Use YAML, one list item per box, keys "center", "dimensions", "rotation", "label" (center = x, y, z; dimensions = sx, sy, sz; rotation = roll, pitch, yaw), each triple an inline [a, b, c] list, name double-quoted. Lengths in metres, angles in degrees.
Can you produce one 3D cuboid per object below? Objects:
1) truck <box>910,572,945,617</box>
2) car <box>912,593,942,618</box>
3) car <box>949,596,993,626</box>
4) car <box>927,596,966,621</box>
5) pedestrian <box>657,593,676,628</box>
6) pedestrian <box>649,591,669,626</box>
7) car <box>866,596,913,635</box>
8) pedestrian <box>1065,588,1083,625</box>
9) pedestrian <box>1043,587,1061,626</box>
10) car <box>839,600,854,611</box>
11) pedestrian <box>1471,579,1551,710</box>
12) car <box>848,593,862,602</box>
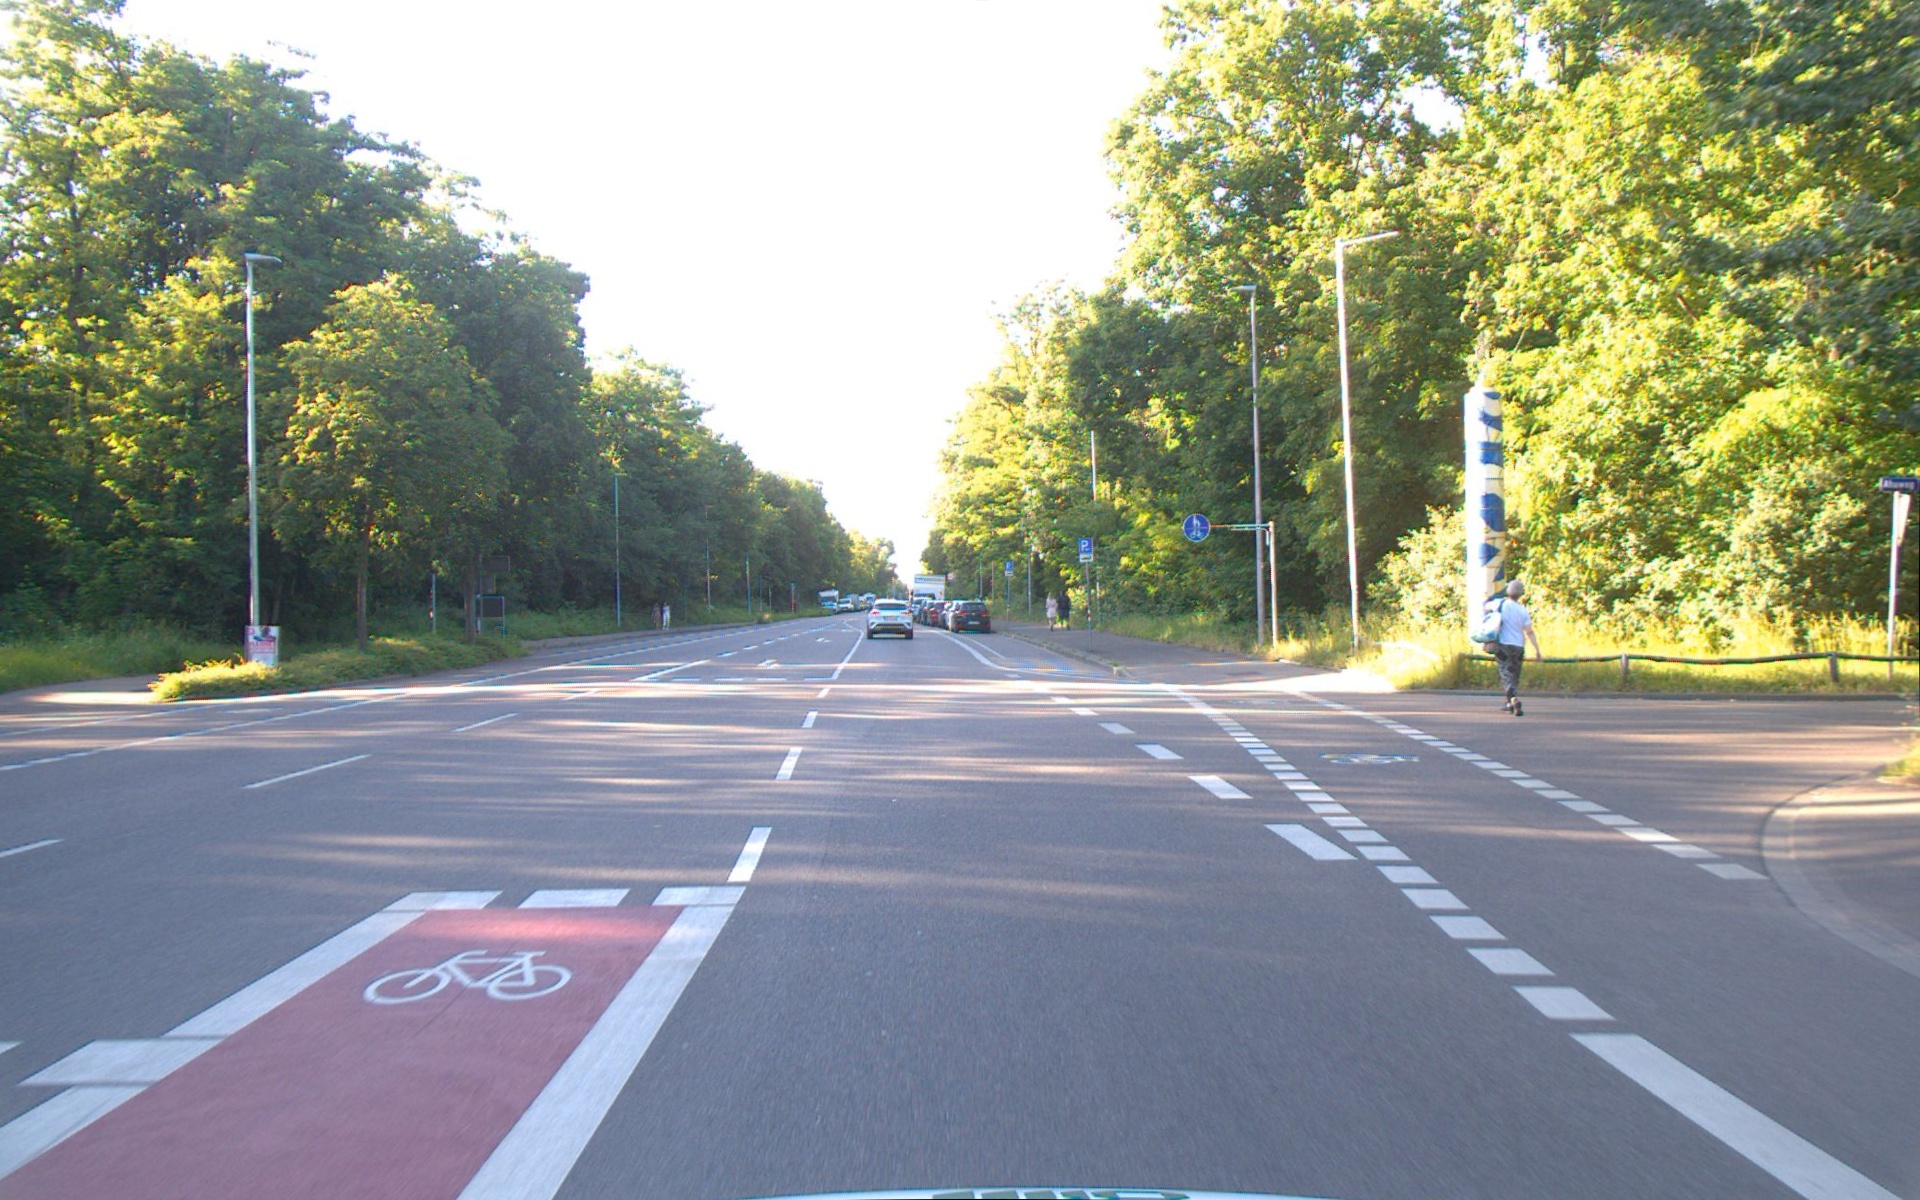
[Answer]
- center: [-2.734, -0.490, 138.355]
  dimensions: [2.743, 3.632, 8.031]
  rotation: [0, 0, -2]
  label: "truck"
- center: [-2.219, 0.334, 110.678]
  dimensions: [1.953, 1.583, 3.999]
  rotation: [-1, 0, -2]
  label: "car"
- center: [0.515, 0.523, 78.958]
  dimensions: [1.953, 1.350, 3.999]
  rotation: [-1, 0, -2]
  label: "car"
- center: [-0.795, 0.493, 94.631]
  dimensions: [1.954, 1.350, 3.996]
  rotation: [-1, 0, -5]
  label: "car"
- center: [-17.300, 0.631, 97.487]
  dimensions: [0.814, 2.049, 1.269]
  rotation: [-1, 0, 0]
  label: "pedestrian"
- center: [-17.734, 0.500, 97.481]
  dimensions: [0.845, 2.049, 1.269]
  rotation: [-1, 0, 0]
  label: "pedestrian"
- center: [-2.815, 0.589, 65.360]
  dimensions: [1.727, 1.485, 3.814]
  rotation: [1, 0, -5]
  label: "car"
- center: [5.071, 0.276, 73.561]
  dimensions: [0.728, 1.627, 0.797]
  rotation: [-1, 0, -2]
  label: "pedestrian"
- center: [4.078, 0.292, 73.529]
  dimensions: [0.684, 1.682, 0.876]
  rotation: [-1, 0, -2]
  label: "pedestrian"
- center: [-15.446, 0.715, 224.915]
  dimensions: [1.954, 1.350, 3.998]
  rotation: [-1, 0, -3]
  label: "car"
- center: [6.839, 0.539, 20.576]
  dimensions: [0.739, 1.591, 0.803]
  rotation: [-1, 0, 4]
  label: "pedestrian"
- center: [-15.741, -0.340, 248.062]
  dimensions: [1.954, 1.350, 3.998]
  rotation: [-1, 0, -3]
  label: "car"
